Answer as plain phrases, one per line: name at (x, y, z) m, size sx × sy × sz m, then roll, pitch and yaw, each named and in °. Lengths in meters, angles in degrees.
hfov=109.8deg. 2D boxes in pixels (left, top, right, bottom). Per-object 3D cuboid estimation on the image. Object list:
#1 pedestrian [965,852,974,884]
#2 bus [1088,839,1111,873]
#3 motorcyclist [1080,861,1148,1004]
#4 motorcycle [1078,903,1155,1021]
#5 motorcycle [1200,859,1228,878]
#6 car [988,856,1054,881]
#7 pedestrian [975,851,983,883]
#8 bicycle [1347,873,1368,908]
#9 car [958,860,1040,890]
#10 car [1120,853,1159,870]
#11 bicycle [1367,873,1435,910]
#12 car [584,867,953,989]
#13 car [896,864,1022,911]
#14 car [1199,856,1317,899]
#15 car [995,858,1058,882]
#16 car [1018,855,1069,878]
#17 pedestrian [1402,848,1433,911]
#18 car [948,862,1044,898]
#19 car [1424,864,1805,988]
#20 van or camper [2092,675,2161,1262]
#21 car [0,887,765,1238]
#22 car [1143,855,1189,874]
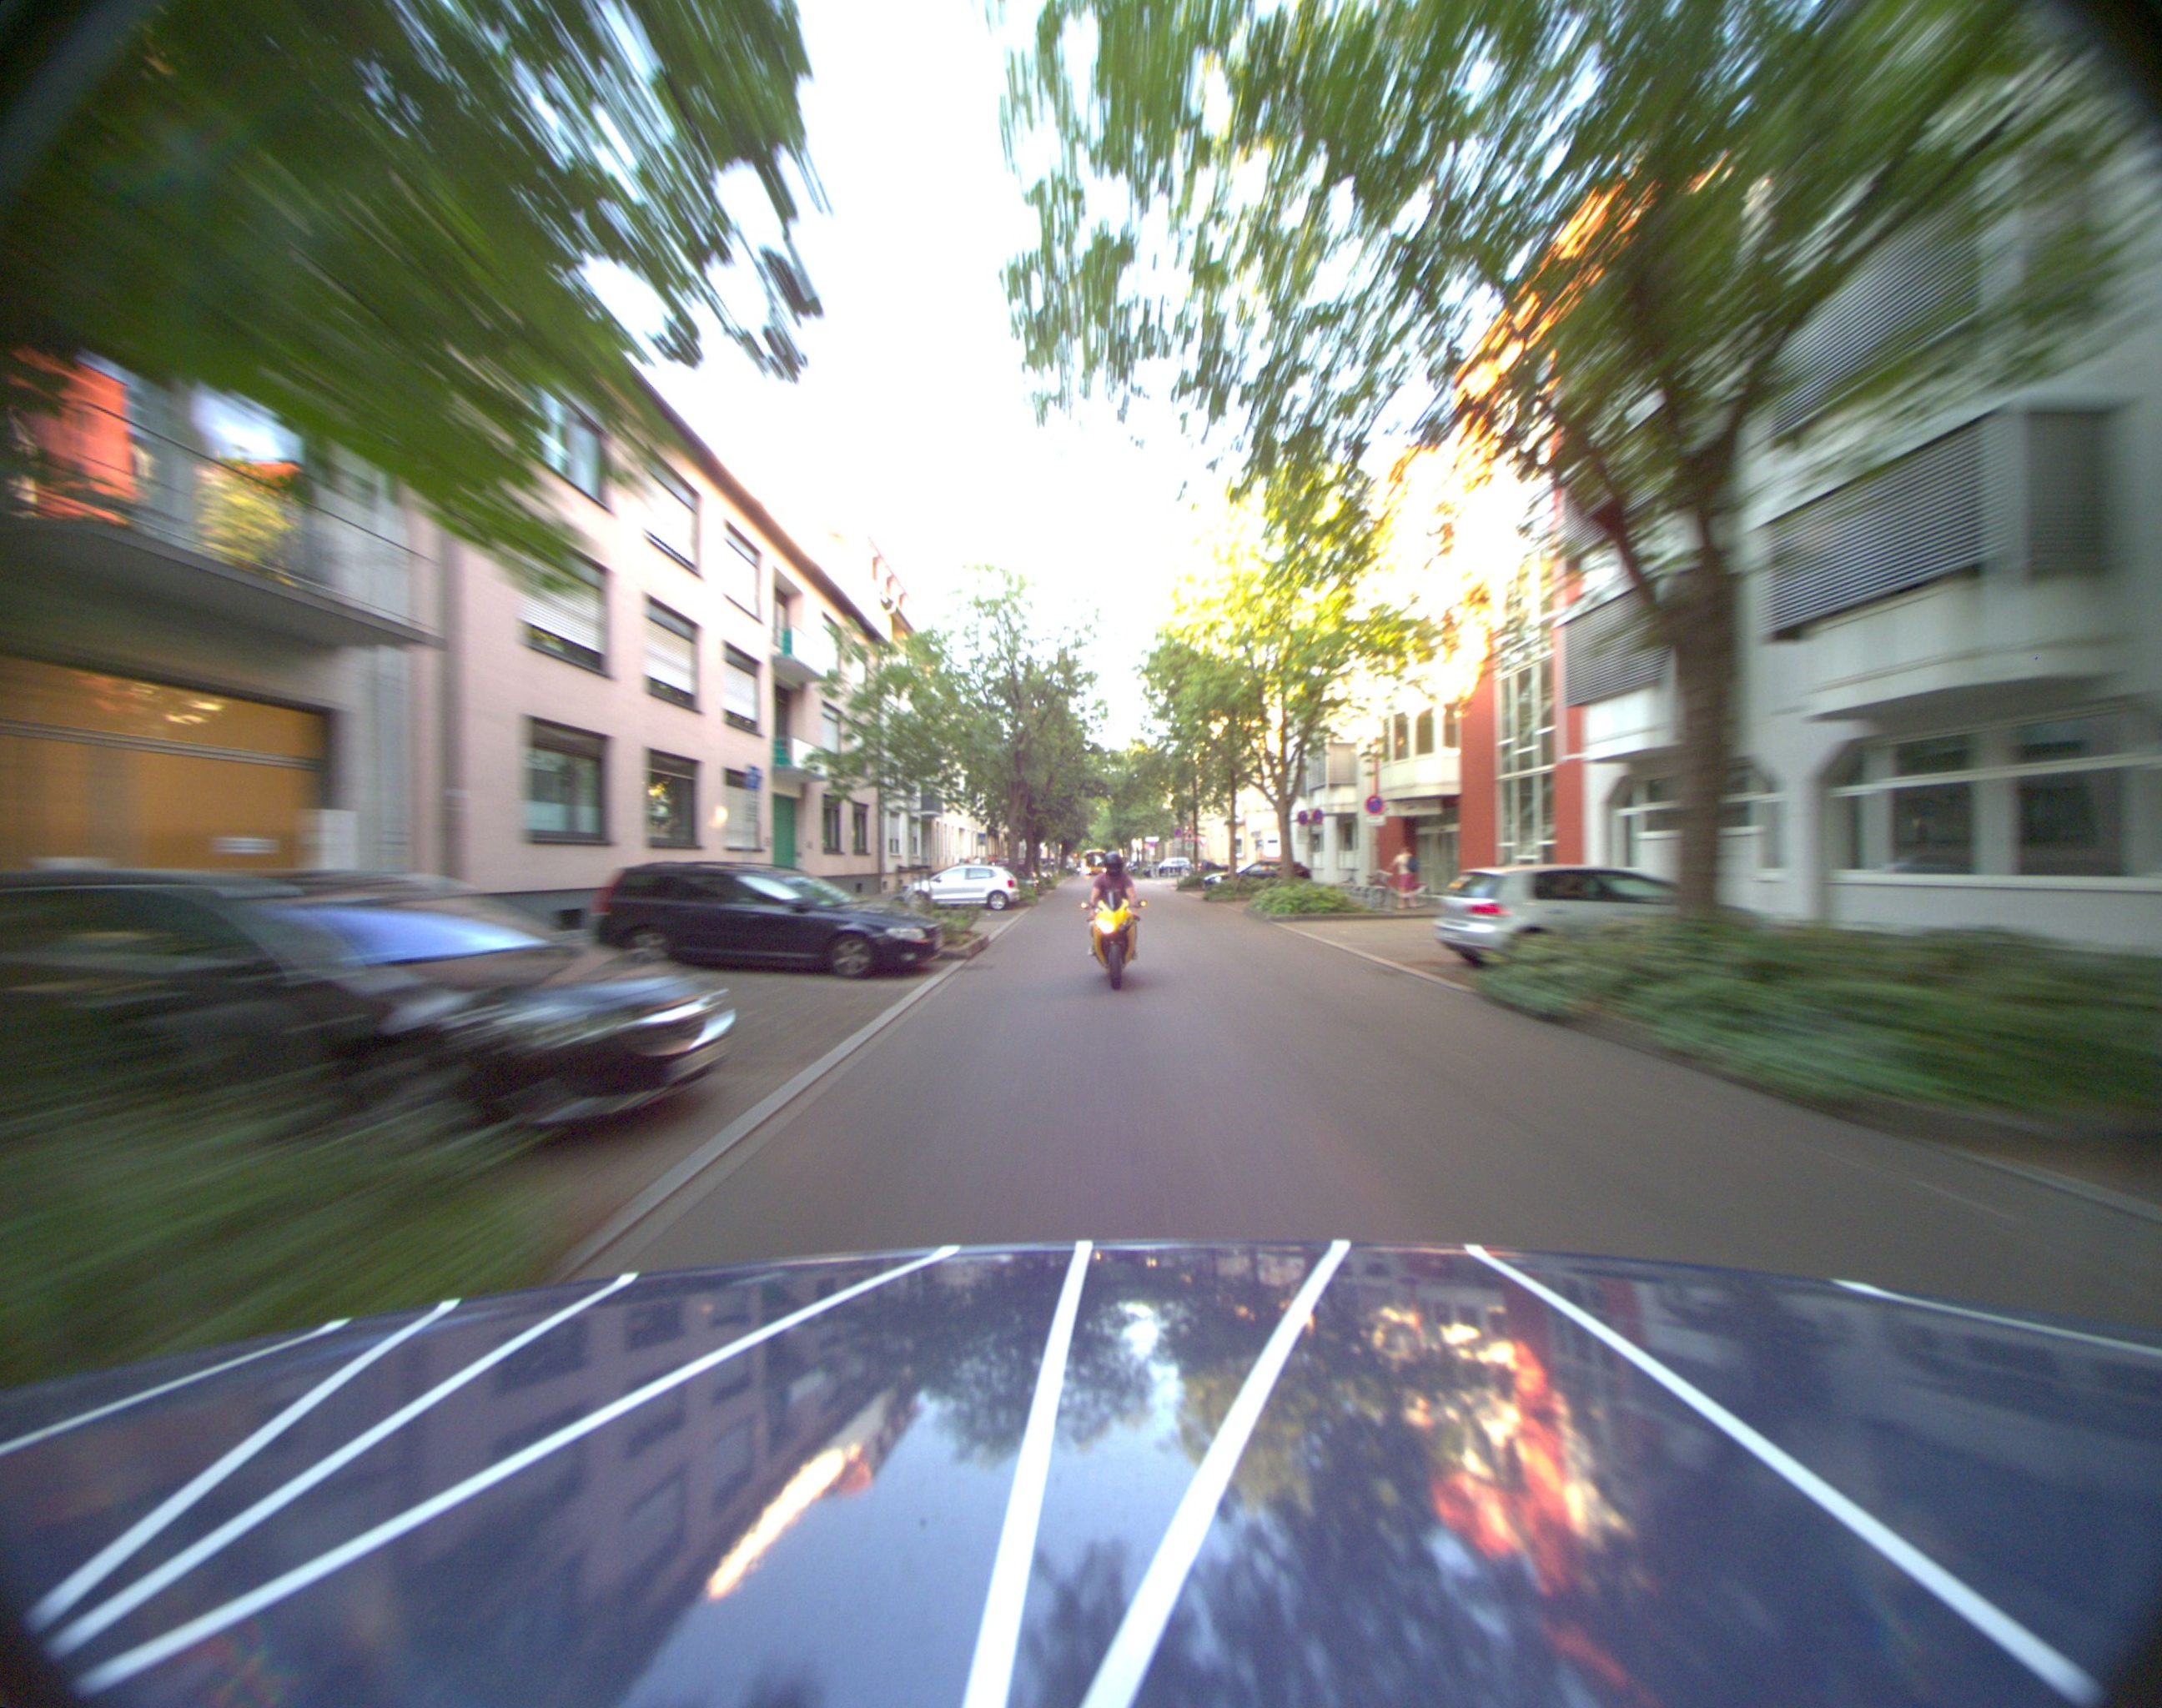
pedestrian at (-7.108, 0.904, 48.396) m, size 0.449 × 2.002 × 0.485 m, roll 0°, pitch 0°, yaw 1°
bus at (2.266, 0.262, 95.204) m, size 2.833 × 4.085 × 7.832 m, roll 0°, pitch 0°, yaw 1°
motorcyclist at (0.374, 0.896, 9.086) m, size 0.722 × 1.605 × 0.915 m, roll -1°, pitch 0°, yaw -2°
motorcycle at (0.374, 1.211, 9.123) m, size 0.736 × 1.115 × 2.108 m, roll -1°, pitch 0°, yaw -2°
motorcycle at (8.279, 0.905, 47.249) m, size 1.626 × 1.136 × 0.572 m, roll -2°, pitch 0°, yaw 3°
car at (-3.636, 0.870, 46.459) m, size 3.858 × 1.390 × 1.675 m, roll 1°, pitch 0°, yaw 1°
pedestrian at (-6.521, 0.823, 48.650) m, size 0.449 × 2.002 × 0.485 m, roll 0°, pitch 0°, yaw 1°
bicycle at (8.345, 1.084, 22.914) m, size 0.454 × 0.981 × 1.758 m, roll 0°, pitch 0°, yaw 25°
car at (-4.031, 1.015, 37.847) m, size 3.858 × 1.390 × 1.675 m, roll 1°, pitch 0°, yaw 1°
car at (6.351, 0.790, 82.230) m, size 3.998 × 1.752 × 2.000 m, roll 0°, pitch 0°, yaw -2°
bicycle at (9.097, 1.055, 21.660) m, size 0.456 × 0.981 × 1.750 m, roll -1°, pitch 0°, yaw -43°
car at (-4.323, 0.994, 10.944) m, size 4.594 × 1.461 × 1.696 m, roll 1°, pitch 0°, yaw 2°
car at (-3.900, 1.060, 24.791) m, size 3.859 × 1.390 × 1.674 m, roll 1°, pitch 0°, yaw -3°
car at (7.267, 0.948, 31.500) m, size 4.475 × 1.748 × 1.791 m, roll 0°, pitch 0°, yaw -3°
car at (-3.470, 0.995, 48.545) m, size 3.858 × 1.390 × 1.675 m, roll 1°, pitch 0°, yaw 1°
car at (-2.986, 0.974, 60.433) m, size 3.998 × 1.752 × 2.000 m, roll 0°, pitch 0°, yaw -2°
pedestrian at (9.330, 0.699, 21.101) m, size 0.637 × 1.734 × 0.679 m, roll 0°, pitch 0°, yaw 9°
car at (-3.626, 1.097, 32.752) m, size 3.857 × 1.390 × 1.676 m, roll 1°, pitch 0°, yaw 4°
car at (7.158, 0.943, 10.536) m, size 4.063 × 1.519 × 1.622 m, roll -1°, pitch 0°, yaw 4°
van or camper at (6.841, 0.467, 2.328) m, size 4.829 × 2.413 × 1.945 m, roll 0°, pitch 0°, yaw 1°
car at (-4.514, 0.996, 4.501) m, size 4.456 × 1.515 × 1.952 m, roll 0°, pitch 0°, yaw 2°
car at (7.429, 0.913, 66.482) m, size 3.858 × 1.623 × 1.675 m, roll 1°, pitch 0°, yaw 1°
